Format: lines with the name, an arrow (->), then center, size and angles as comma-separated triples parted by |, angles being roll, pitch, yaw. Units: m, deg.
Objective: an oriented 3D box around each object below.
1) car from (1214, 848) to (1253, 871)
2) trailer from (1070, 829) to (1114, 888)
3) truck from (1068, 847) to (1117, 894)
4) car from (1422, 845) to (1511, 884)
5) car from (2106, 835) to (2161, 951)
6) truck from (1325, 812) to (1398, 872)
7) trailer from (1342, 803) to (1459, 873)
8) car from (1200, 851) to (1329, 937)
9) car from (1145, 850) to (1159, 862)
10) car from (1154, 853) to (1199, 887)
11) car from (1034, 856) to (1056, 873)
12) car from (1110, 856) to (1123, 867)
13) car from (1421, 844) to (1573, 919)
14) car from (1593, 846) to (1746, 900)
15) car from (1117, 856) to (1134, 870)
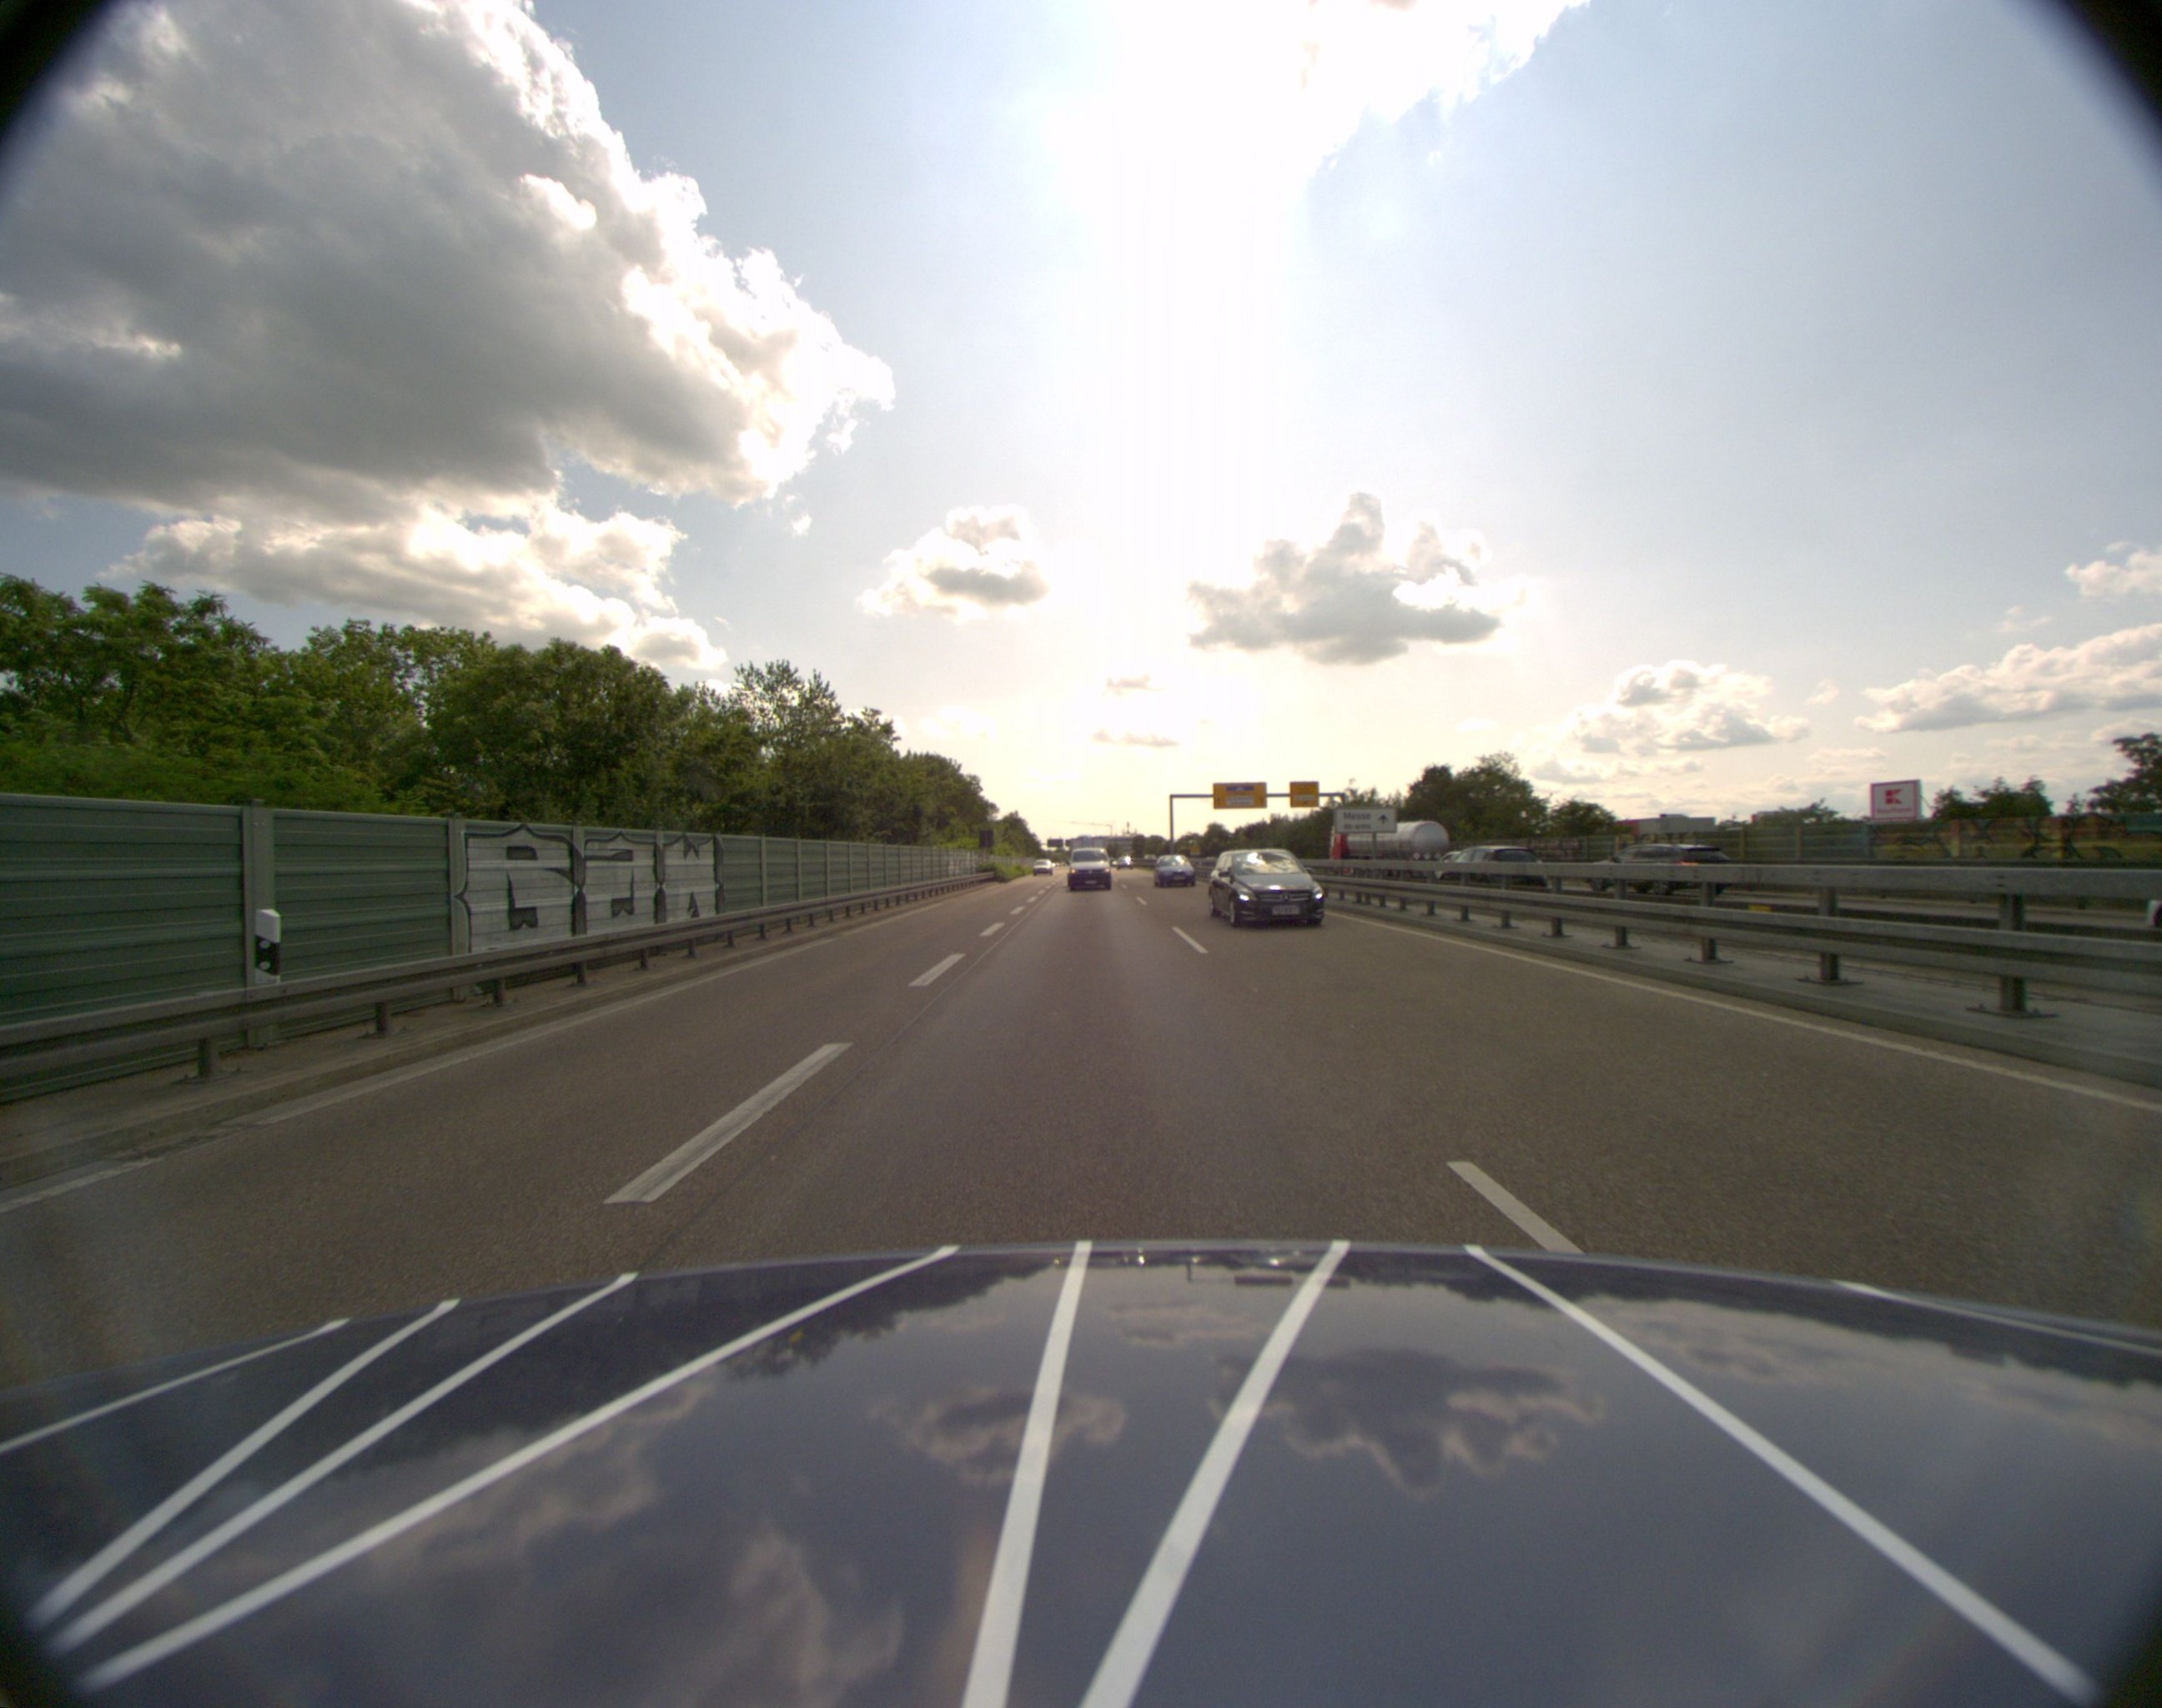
car -> 12.481, 0.417, 62.293 | 1.999, 1.740, 4.595 | -3, 1, -3
trailer -> 0.533, 0.200, 39.284 | 1.998, 2.723, 5.966 | -3, 1, 0
truck -> 0.514, 0.698, 34.215 | 2.008, 1.905, 4.000 | -2, 0, 0
car -> 16.591, 0.415, 32.914 | 1.787, 1.500, 3.959 | -3, 1, 0
car -> 15.687, 0.514, 8.958 | 1.929, 1.565, 3.886 | -3, 1, 0
truck -> 19.348, -0.810, 52.807 | 2.654, 3.760, 6.232 | -3, 1, 1
trailer -> 19.269, -0.924, 46.827 | 2.691, 3.648, 11.028 | -3, 1, 1
car -> 3.783, 0.734, 16.498 | 1.716, 1.518, 4.592 | -3, 1, 1
car -> 13.140, 0.300, 140.785 | 2.085, 1.978, 5.226 | -2, 3, 0
car -> 4.418, 0.721, 35.466 | 1.625, 1.403, 3.771 | -3, 1, 1
car -> -3.335, 0.961, 70.796 | 1.768, 1.403, 3.771 | -3, 1, 1
car -> 5.391, 1.097, 116.125 | 1.895, 1.518, 4.464 | -3, 1, 1
car -> 11.693, 0.690, 21.751 | 1.998, 1.846, 4.239 | -3, 1, 1
car -> 19.099, 0.540, 24.935 | 1.719, 1.610, 4.281 | 0, 1, 0
car -> 5.164, 1.013, 88.945 | 1.779, 1.518, 4.464 | -3, 1, 1
